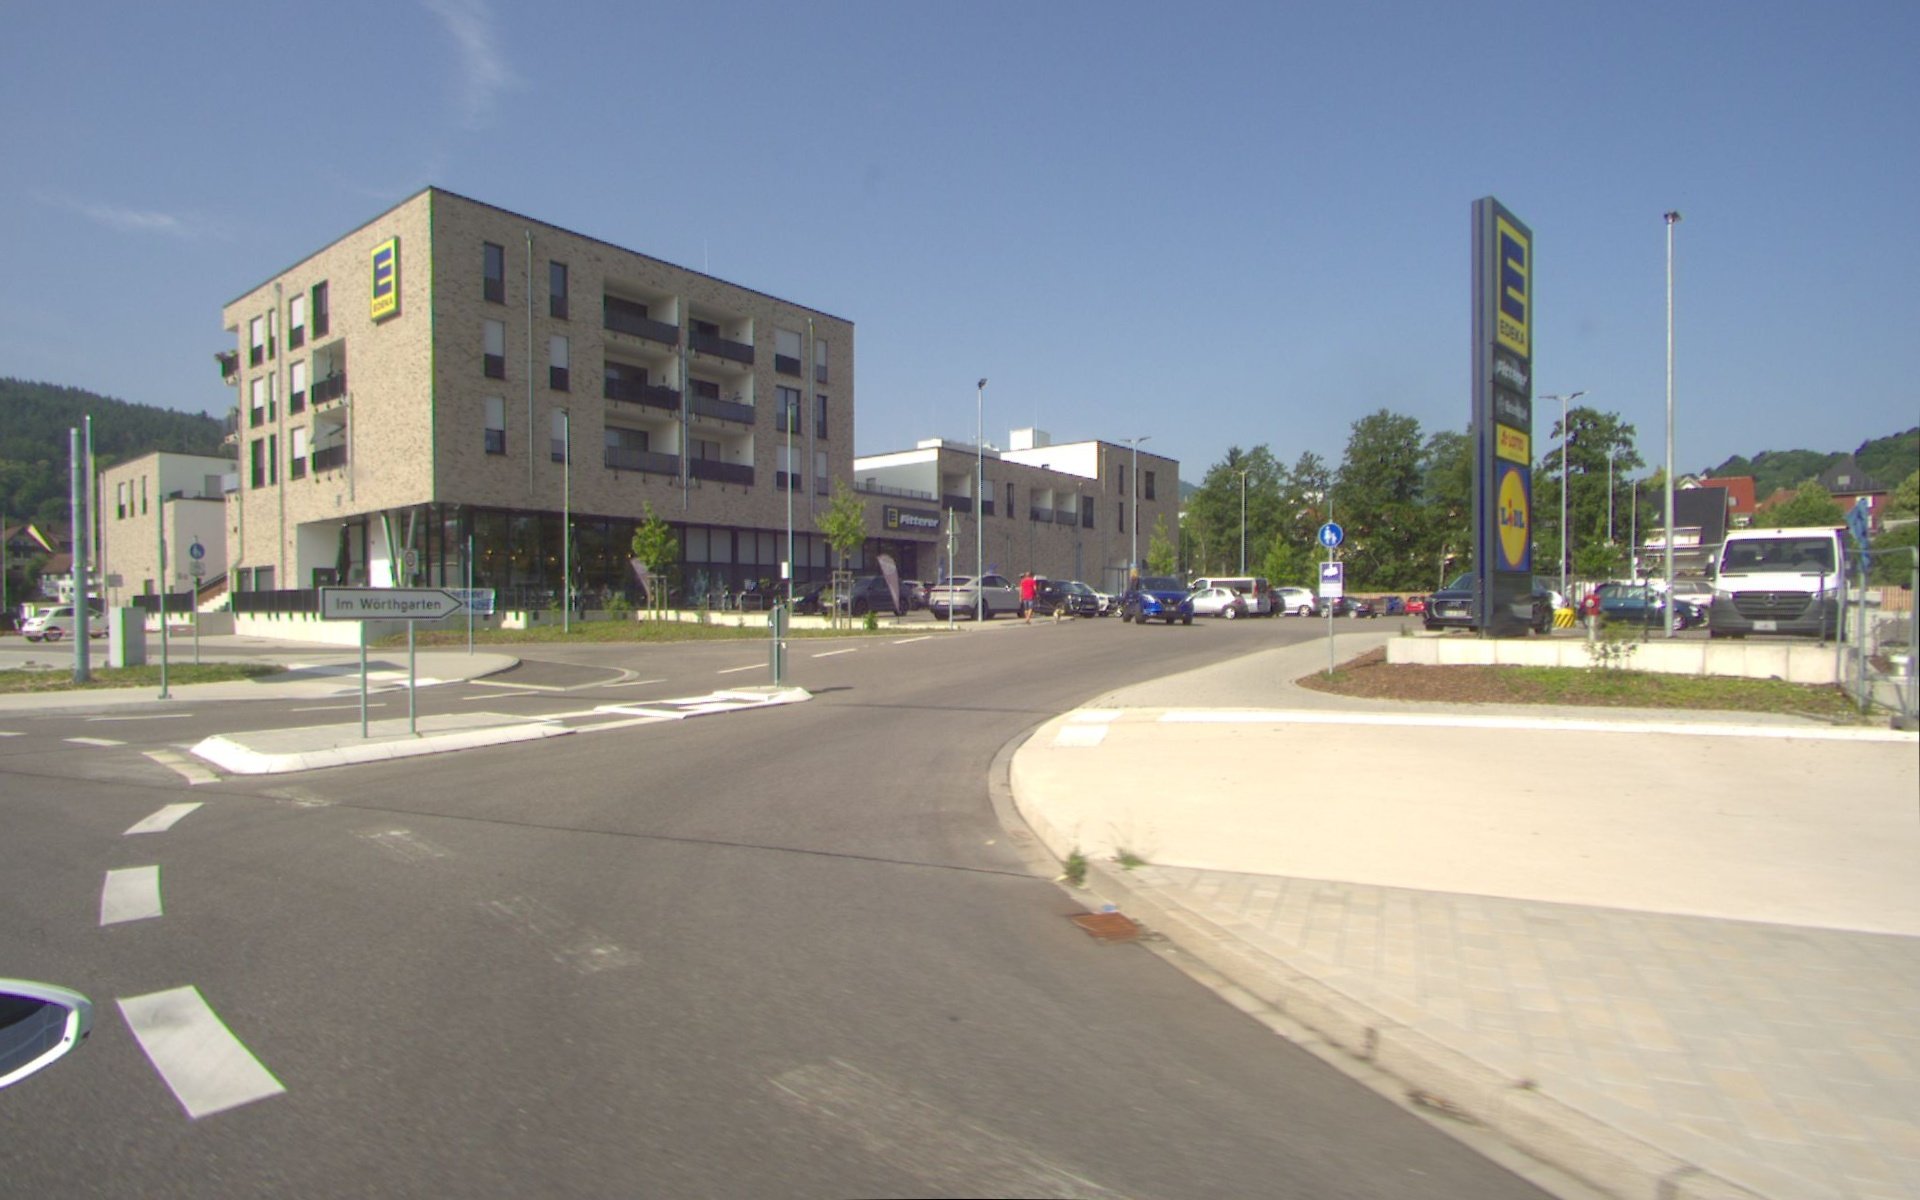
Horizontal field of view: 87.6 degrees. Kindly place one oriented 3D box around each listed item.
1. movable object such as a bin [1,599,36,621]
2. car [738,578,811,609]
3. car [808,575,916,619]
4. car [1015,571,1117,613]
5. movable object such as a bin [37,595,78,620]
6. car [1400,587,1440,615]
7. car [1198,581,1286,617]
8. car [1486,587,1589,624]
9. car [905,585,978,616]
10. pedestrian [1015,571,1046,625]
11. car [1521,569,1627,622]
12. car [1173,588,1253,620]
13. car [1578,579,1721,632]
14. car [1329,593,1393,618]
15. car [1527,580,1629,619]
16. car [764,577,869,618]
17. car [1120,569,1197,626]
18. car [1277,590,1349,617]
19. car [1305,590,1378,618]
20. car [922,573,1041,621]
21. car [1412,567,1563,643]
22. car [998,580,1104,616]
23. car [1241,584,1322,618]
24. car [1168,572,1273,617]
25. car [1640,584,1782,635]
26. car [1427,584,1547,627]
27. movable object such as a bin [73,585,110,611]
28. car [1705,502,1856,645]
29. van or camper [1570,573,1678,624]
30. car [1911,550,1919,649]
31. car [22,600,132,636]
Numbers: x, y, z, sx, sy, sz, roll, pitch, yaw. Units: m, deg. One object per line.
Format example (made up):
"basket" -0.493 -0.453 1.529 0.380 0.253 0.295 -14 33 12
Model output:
"movable object such as a bin" -58.216 0.603 61.943 1.302 1.284 1.293 1 -2 34
"car" -8.874 -0.297 47.893 3.285 1.368 1.484 0 -2 33
"car" -3.847 -0.154 40.141 1.833 1.577 4.428 3 3 37
"car" 5.059 -0.347 48.044 4.522 1.905 1.986 0 -1 39
"movable object such as a bin" -55.544 0.483 61.657 1.302 1.482 1.577 1 -2 34
"car" 37.355 0.077 81.244 1.976 2.039 3.971 0 -3 40
"car" 14.247 -0.043 50.612 3.939 1.660 1.866 1 -2 30
"car" 24.596 0.263 42.693 3.590 1.463 1.514 0 -3 42
"car" -1.029 -0.033 57.362 1.833 1.577 4.428 3 3 37
"pedestrian" 2.356 -0.063 33.538 0.864 1.763 0.758 2 -1 -5
"car" 33.020 -0.217 53.903 4.592 2.650 1.986 0 -2 40
"car" 11.726 0.201 46.491 3.284 1.368 1.620 -1 -2 32
"car" 22.721 0.192 33.039 3.742 1.594 1.750 0 -3 41
"car" 28.561 0.373 71.398 3.943 1.695 1.780 0 -2 33
"car" 34.351 0.013 55.728 4.592 2.001 1.986 0 -2 40
"car" -6.021 -0.153 42.490 1.833 1.577 4.428 3 3 37
"car" 6.610 -0.156 33.735 1.850 1.686 4.349 -2 3 2
"car" 20.862 0.202 59.178 3.755 1.490 1.765 1 -2 30
"car" 24.208 0.257 63.570 3.946 1.695 1.989 0 -2 35
"car" 0.852 -0.157 36.848 1.835 1.577 4.783 3 4 39
"car" 12.828 0.183 24.214 1.903 1.549 4.818 0 -3 45
"car" 3.768 -0.081 41.741 4.172 1.411 1.633 0 2 35
"car" 17.785 0.064 55.324 3.939 1.763 1.927 1 -2 30
"car" 12.694 -0.246 48.869 4.577 2.039 1.992 1 -2 30
"car" 25.469 0.318 34.009 3.742 1.594 1.750 0 -3 41
"car" 19.052 0.214 36.291 3.590 1.463 1.514 0 -3 42
"movable object such as a bin" -50.972 -0.100 58.774 1.302 1.482 1.297 1 -2 34
"car" 16.969 -0.360 20.570 2.038 2.413 6.043 0 -3 43
"van or camper" 40.340 -0.059 60.916 5.223 2.883 2.279 0 -2 40
"car" 18.474 0.060 18.101 1.813 1.622 4.440 0 -3 43
"car" -40.158 0.805 45.613 1.568 1.514 3.405 -2 0 23
